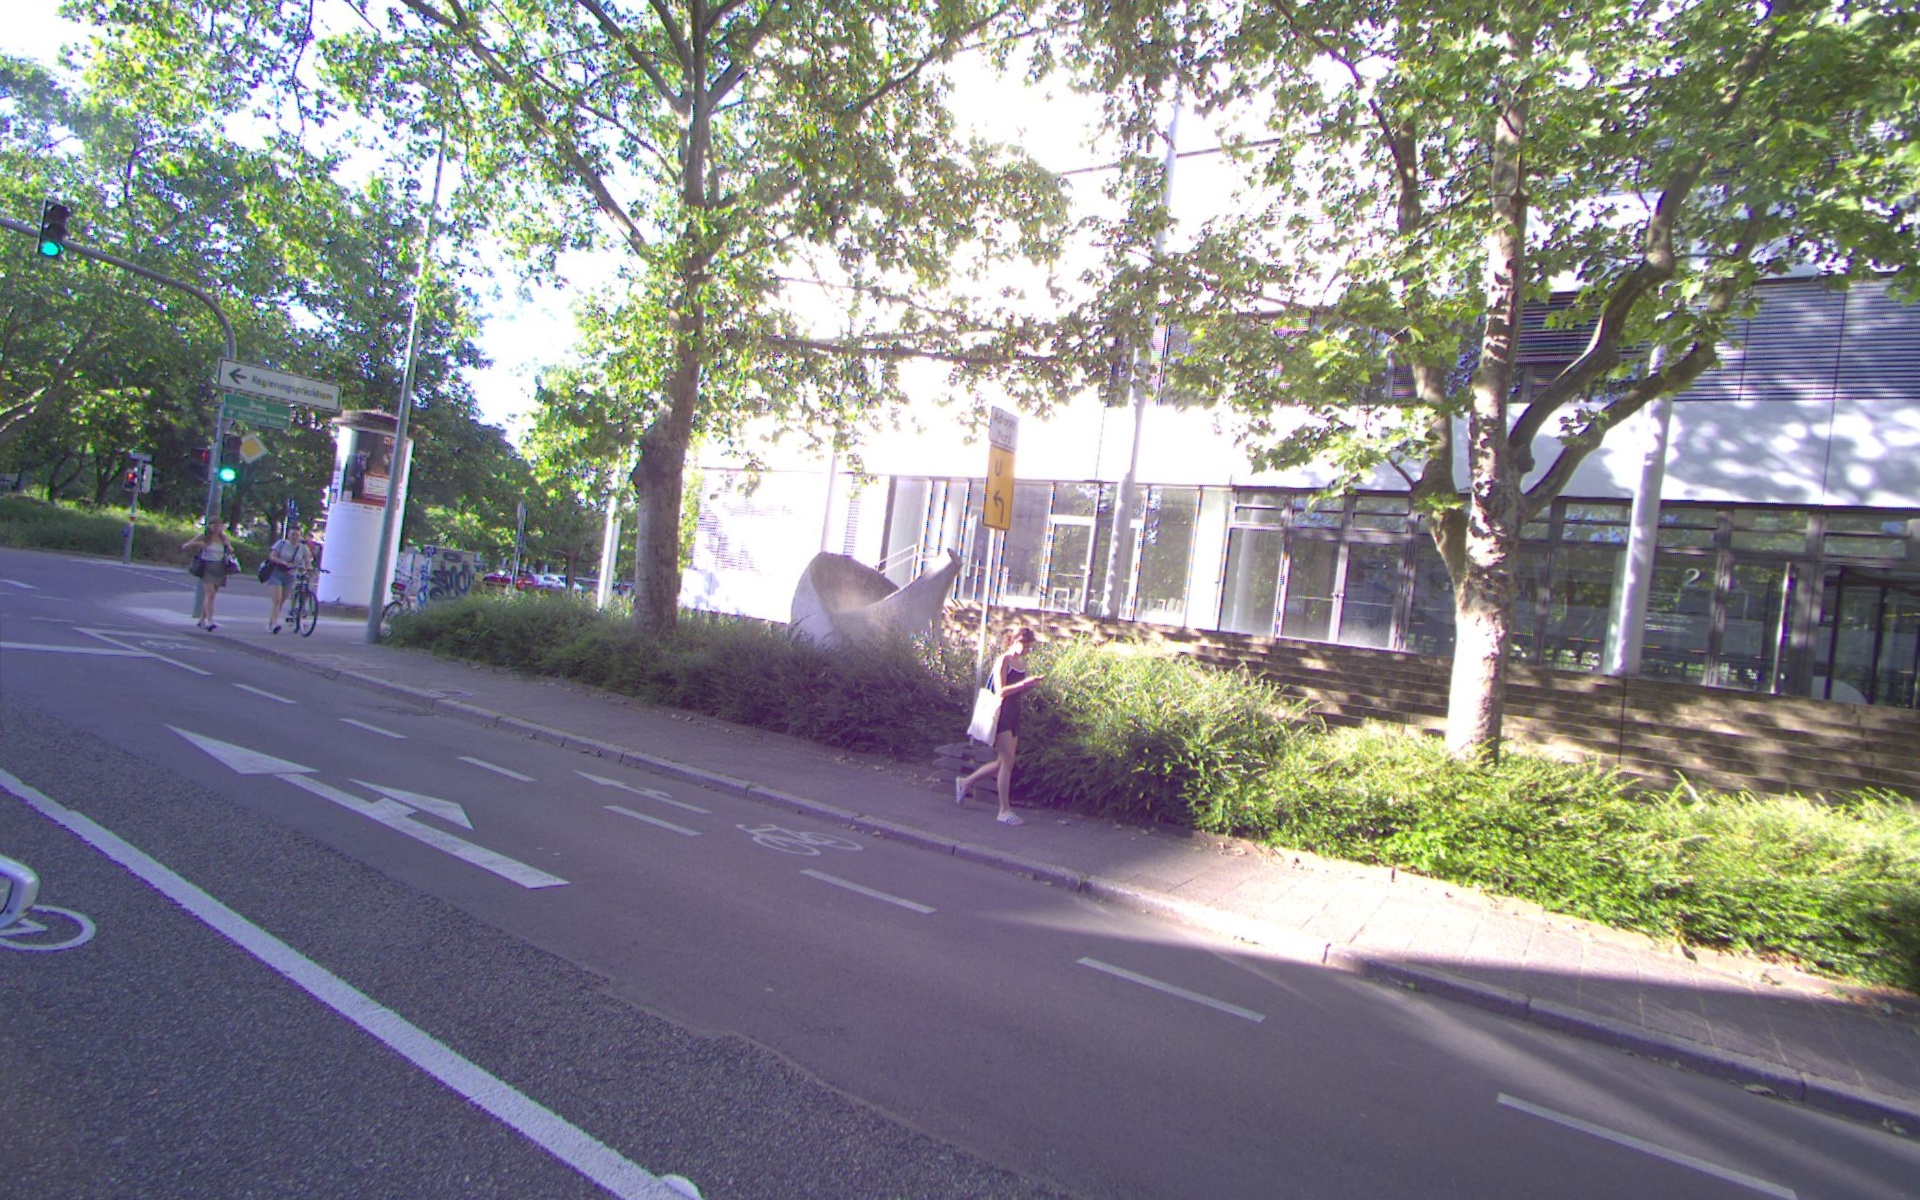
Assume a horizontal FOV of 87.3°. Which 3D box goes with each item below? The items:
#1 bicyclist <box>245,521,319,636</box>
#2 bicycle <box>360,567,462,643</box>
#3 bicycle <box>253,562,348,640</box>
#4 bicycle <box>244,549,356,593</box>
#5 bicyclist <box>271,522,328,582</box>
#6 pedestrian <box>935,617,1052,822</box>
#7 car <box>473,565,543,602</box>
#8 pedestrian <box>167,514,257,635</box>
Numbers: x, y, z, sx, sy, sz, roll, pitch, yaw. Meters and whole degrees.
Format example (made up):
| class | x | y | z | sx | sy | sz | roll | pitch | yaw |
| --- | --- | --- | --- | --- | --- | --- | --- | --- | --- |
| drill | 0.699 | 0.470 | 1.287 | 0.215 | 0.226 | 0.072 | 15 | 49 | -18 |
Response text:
| class | x | y | z | sx | sy | sz | roll | pitch | yaw |
| --- | --- | --- | --- | --- | --- | --- | --- | --- | --- |
| bicyclist | -10.740 | -0.337 | 15.943 | 0.644 | 1.734 | 0.633 | 5 | -1 | 31 |
| bicycle | -9.483 | 0.116 | 17.453 | 0.462 | 1.196 | 1.995 | 7 | -2 | 3 |
| bicycle | -10.465 | 0.013 | 15.941 | 1.620 | 1.047 | 0.522 | 6 | -1 | 32 |
| bicycle | -22.323 | -0.962 | 34.127 | 0.926 | 1.050 | 3.004 | 6 | -2 | 29 |
| bicyclist | -22.310 | -1.613 | 33.980 | 0.961 | 1.829 | 1.130 | 6 | -1 | 30 |
| pedestrian | 0.284 | 0.995 | 8.542 | 0.671 | 1.612 | 0.462 | 6 | -1 | 32 |
| car | -28.203 | -1.048 | 62.756 | 3.935 | 1.800 | 1.997 | 6 | -2 | 32 |
| pedestrian | -11.497 | -0.387 | 15.479 | 0.681 | 1.740 | 0.774 | 6 | 0 | 31 |
